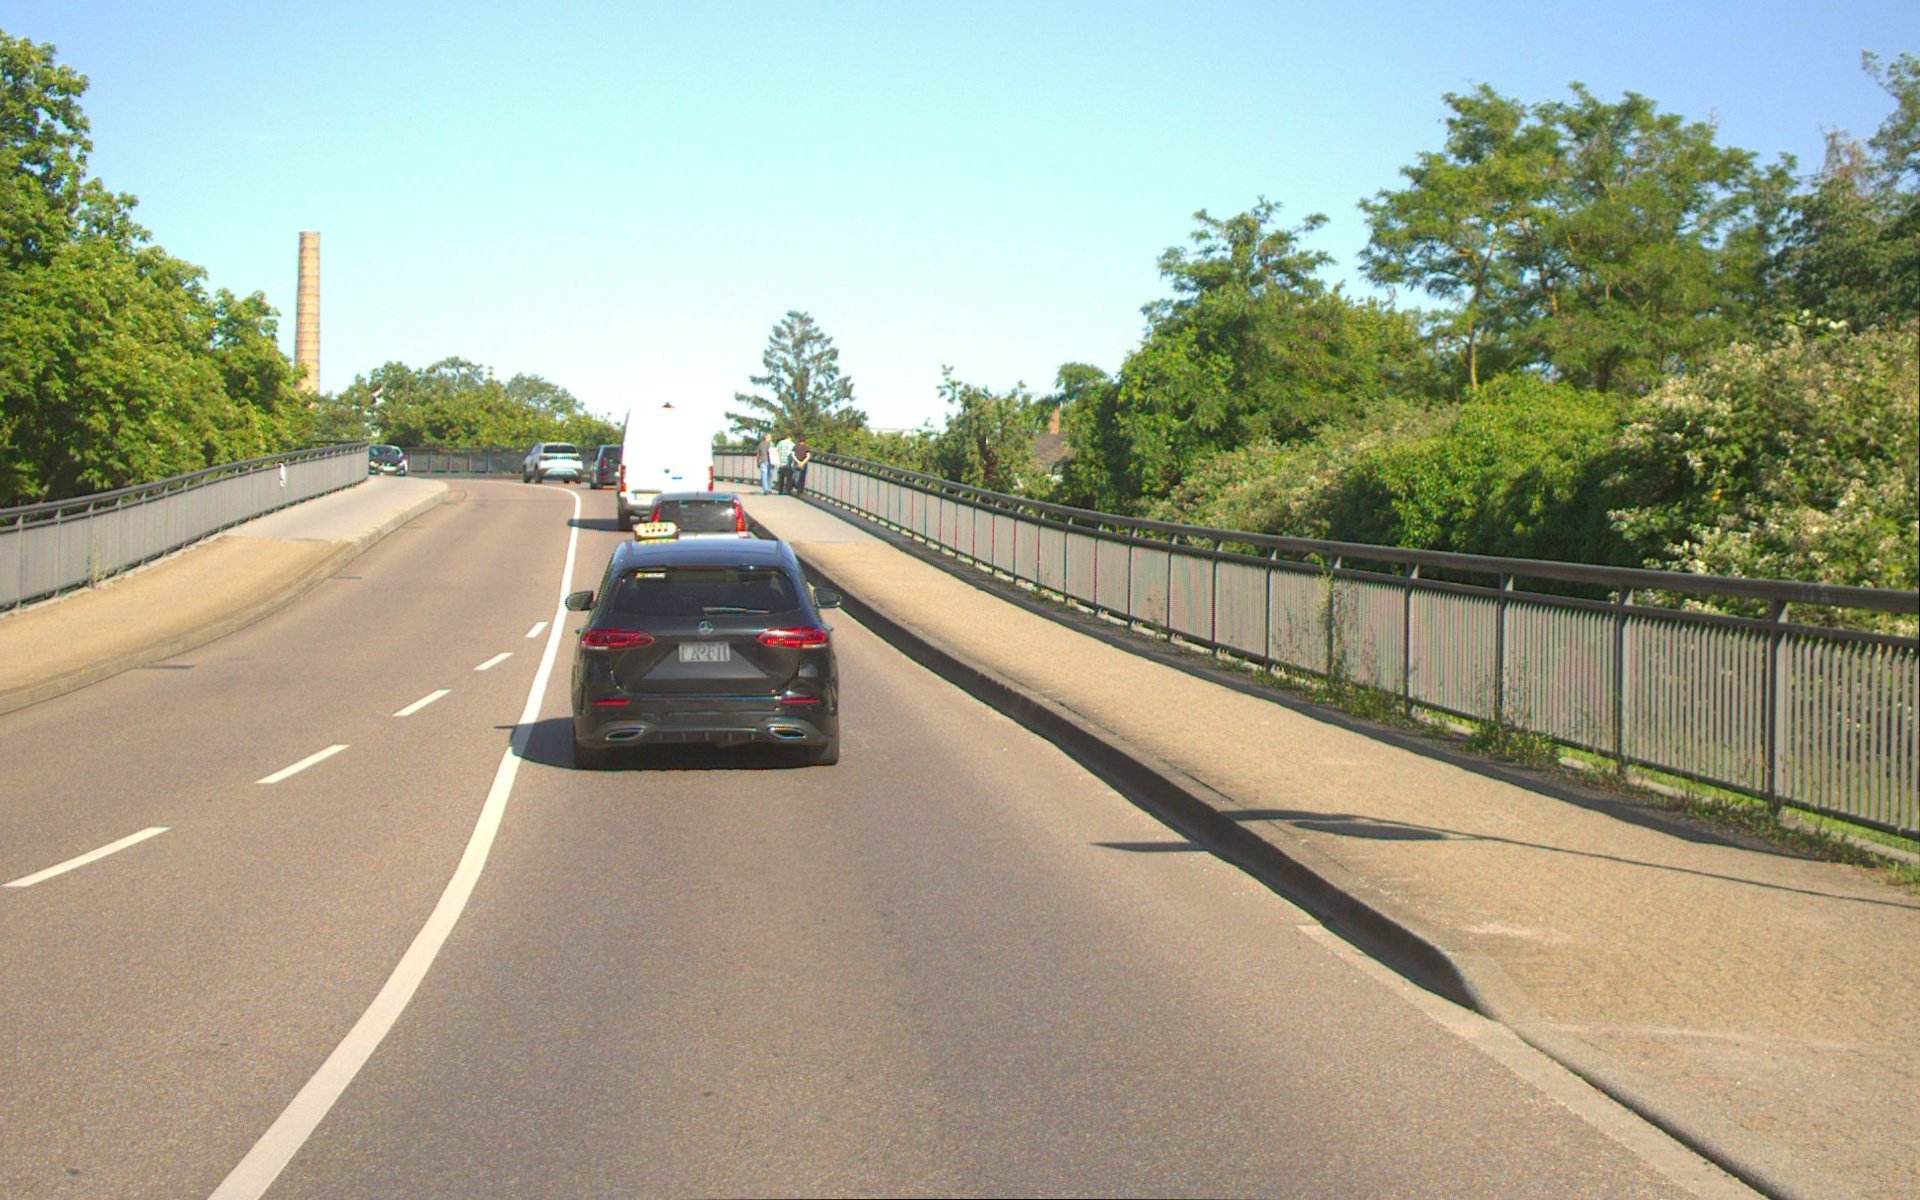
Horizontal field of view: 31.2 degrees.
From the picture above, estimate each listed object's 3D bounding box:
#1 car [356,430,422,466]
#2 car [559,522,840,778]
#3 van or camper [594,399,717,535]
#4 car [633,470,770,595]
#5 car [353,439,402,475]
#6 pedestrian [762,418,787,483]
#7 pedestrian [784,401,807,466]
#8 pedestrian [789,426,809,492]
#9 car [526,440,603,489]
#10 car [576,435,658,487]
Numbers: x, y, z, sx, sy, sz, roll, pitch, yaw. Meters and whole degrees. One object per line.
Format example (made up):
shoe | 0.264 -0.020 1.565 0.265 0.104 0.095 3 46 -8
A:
car | -26.231 -6.972 157.930 1.876 1.538 4.001 1 1 -26
car | -1.756 0.278 24.242 1.769 1.587 3.990 1 2 -2
van or camper | -6.630 -2.790 74.218 2.225 2.730 7.082 1 1 -8
car | -3.660 -0.926 49.149 1.804 1.634 4.000 1 -1 -3
car | -24.440 -6.008 144.400 1.769 1.469 3.990 -1 3 -6
pedestrian | -5.057 -4.063 93.514 0.602 1.744 0.717 1 1 -6
pedestrian | -4.502 -4.567 94.216 0.549 1.744 0.739 1 1 -6
pedestrian | -4.356 -3.807 92.997 0.471 1.744 0.654 1 1 -6
car | -14.955 -5.133 130.293 1.994 1.674 3.999 0 0 7
car | -11.193 -4.526 112.357 1.919 1.483 4.269 0 0 5
